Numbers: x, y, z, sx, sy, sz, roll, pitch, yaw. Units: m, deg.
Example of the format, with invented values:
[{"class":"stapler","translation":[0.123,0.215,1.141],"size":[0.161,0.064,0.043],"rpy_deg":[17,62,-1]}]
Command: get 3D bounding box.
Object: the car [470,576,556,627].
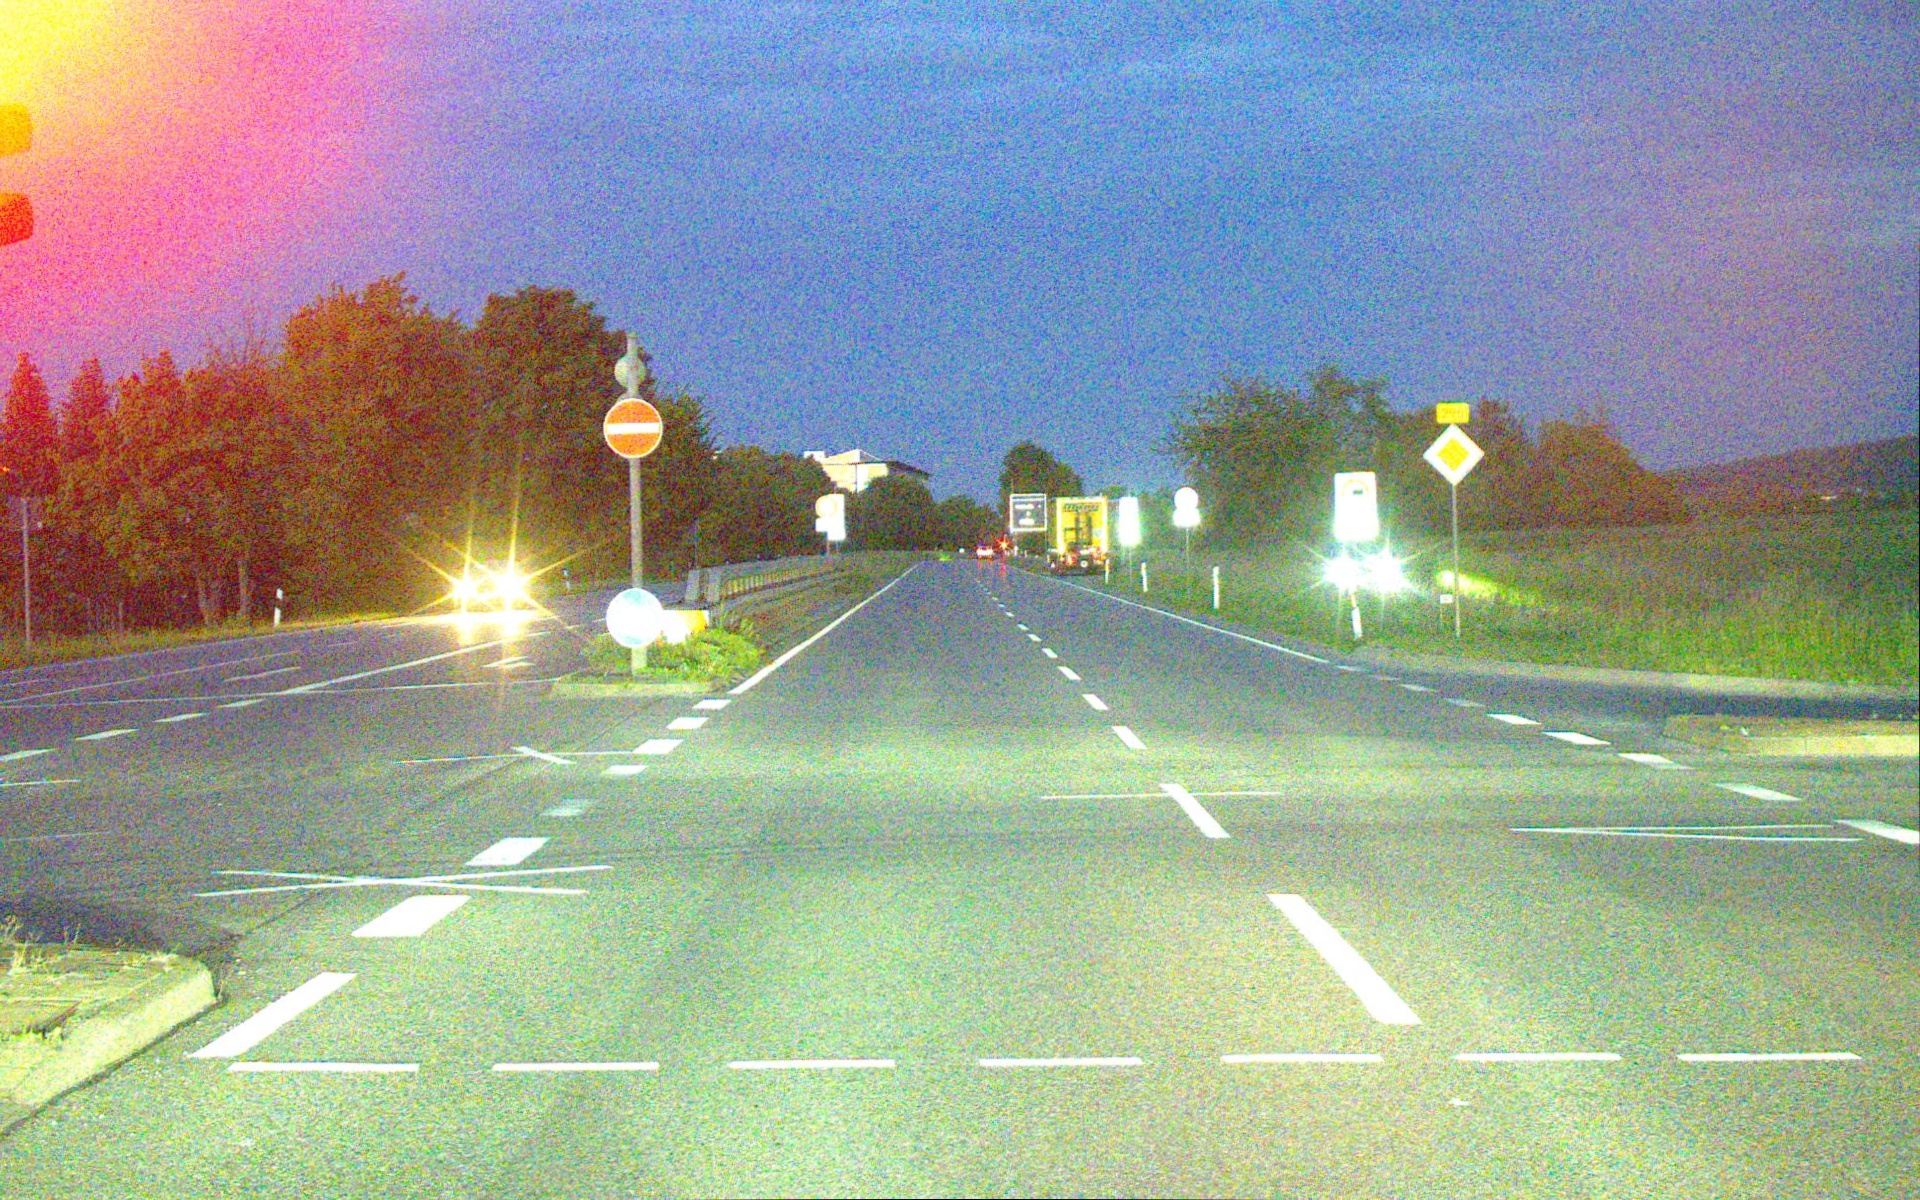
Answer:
[{"class":"car","translation":[-12.953,0.035,99.809],"size":[1.993,1.382,4.000],"rpy_deg":[-1,1,-1]}]
